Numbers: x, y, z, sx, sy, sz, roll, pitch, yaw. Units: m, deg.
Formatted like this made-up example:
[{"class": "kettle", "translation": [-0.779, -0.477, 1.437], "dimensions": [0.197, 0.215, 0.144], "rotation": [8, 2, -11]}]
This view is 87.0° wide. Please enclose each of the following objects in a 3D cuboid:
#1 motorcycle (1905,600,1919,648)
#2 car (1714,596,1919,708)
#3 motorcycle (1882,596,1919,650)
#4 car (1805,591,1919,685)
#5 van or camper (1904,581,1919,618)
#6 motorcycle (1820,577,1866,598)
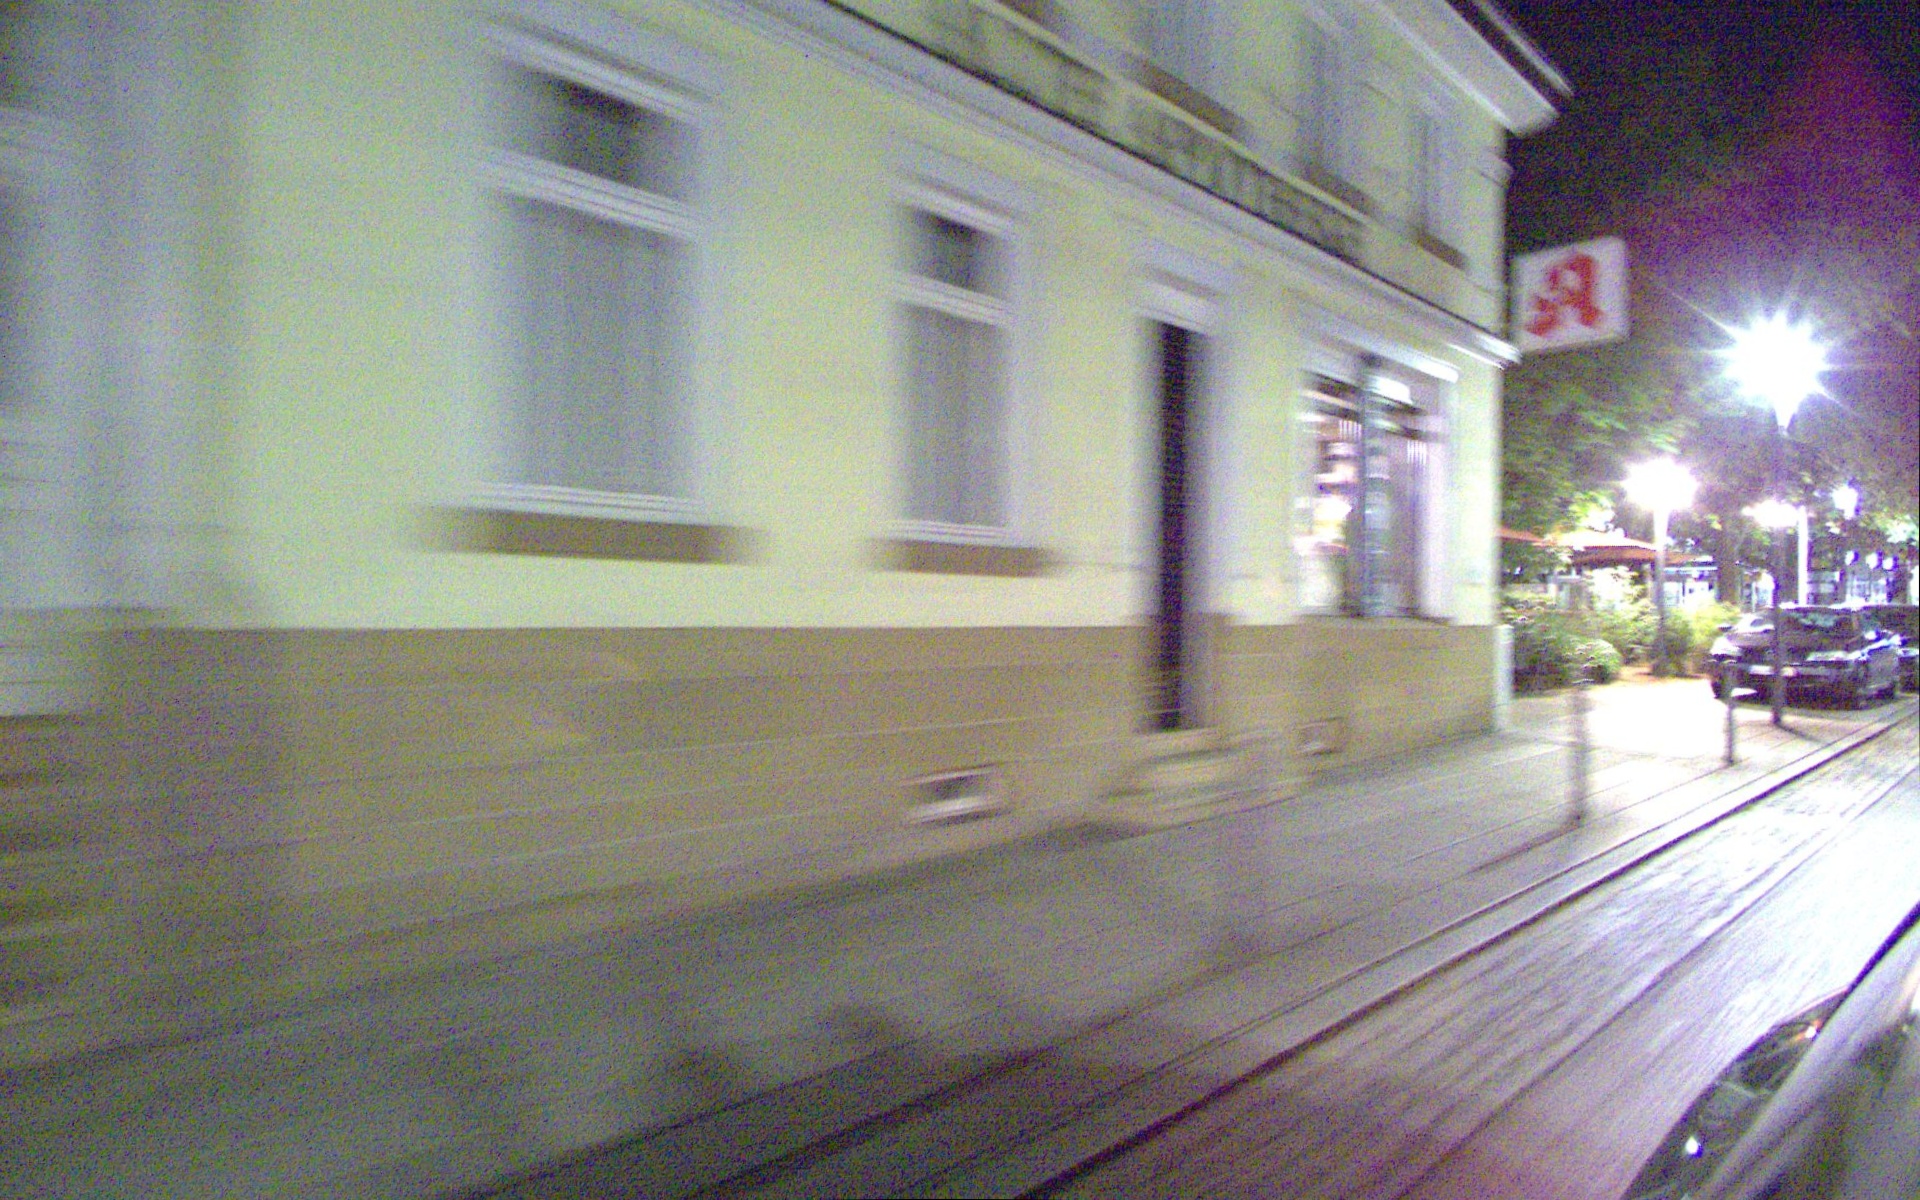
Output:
[{"class": "motorcycle", "translation": [26.898, 0.683, 27.265], "dimensions": [0.505, 1.313, 2.175], "rotation": [0, 1, -14]}, {"class": "car", "translation": [12.979, 0.676, 15.150], "dimensions": [4.028, 1.394, 1.666], "rotation": [0, 2, -38]}, {"class": "motorcycle", "translation": [26.045, 0.628, 26.888], "dimensions": [0.647, 1.408, 2.276], "rotation": [0, 1, -16]}, {"class": "car", "translation": [16.974, 0.615, 18.239], "dimensions": [4.385, 1.482, 1.758], "rotation": [0, 2, -38]}, {"class": "van or camper", "translation": [69.849, -0.040, 70.181], "dimensions": [5.972, 2.565, 2.149], "rotation": [0, 0, 19]}, {"class": "motorcycle", "translation": [52.919, -0.751, 60.664], "dimensions": [2.183, 1.287, 0.531], "rotation": [0, 0, 7]}]
